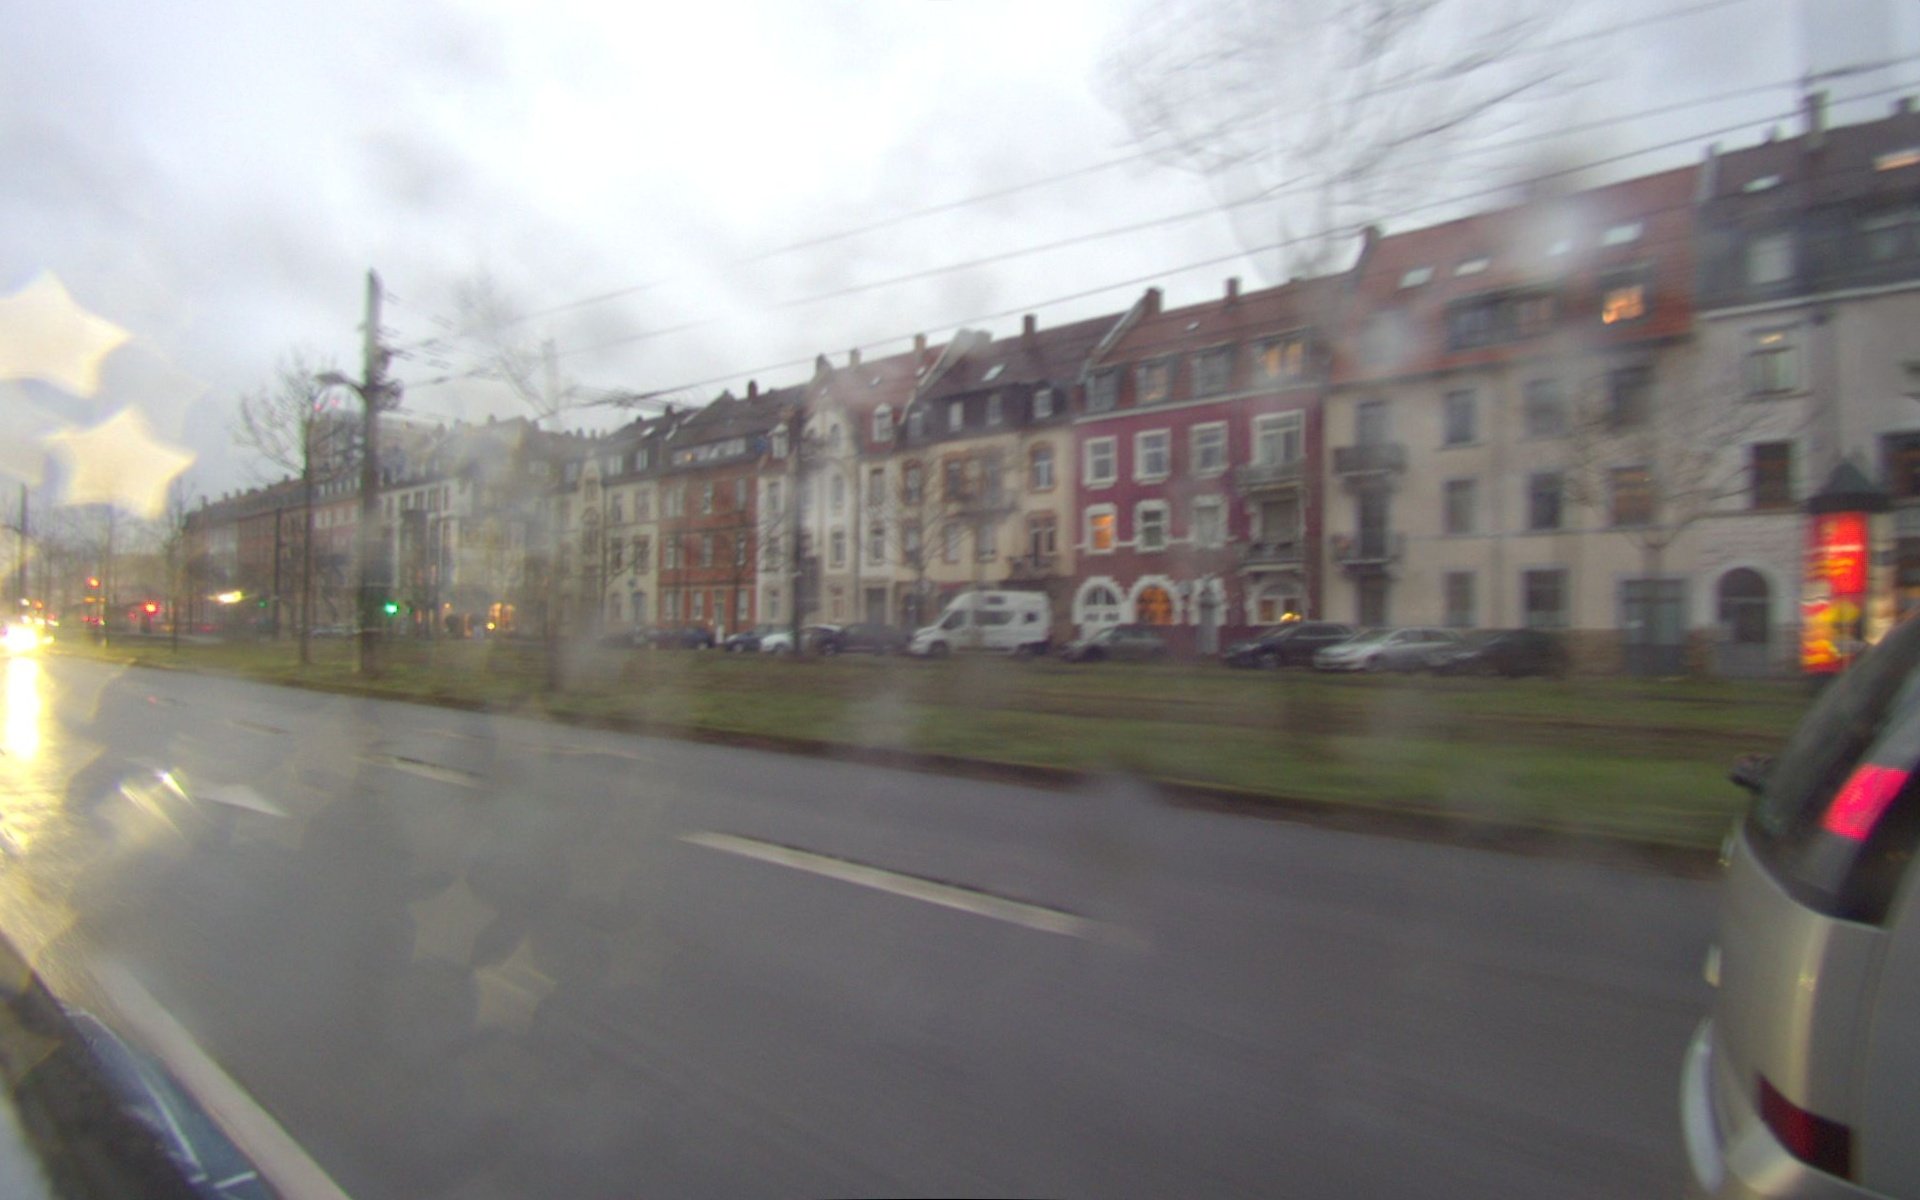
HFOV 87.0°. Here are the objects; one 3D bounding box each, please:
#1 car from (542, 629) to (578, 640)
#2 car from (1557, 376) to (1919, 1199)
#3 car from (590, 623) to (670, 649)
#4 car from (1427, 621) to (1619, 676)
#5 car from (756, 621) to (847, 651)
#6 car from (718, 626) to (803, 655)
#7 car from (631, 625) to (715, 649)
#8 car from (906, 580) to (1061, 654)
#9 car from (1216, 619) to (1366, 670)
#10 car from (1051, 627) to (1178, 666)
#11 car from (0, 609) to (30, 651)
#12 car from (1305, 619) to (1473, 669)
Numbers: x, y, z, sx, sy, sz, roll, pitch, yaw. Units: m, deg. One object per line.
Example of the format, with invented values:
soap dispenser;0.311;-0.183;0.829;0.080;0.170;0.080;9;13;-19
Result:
car;-37.795;3.249;95.551;1.330;1.083;2.860;-1;-2;40
car;2.946;0.520;0.737;4.052;1.612;1.790;-1;0;42
car;-17.818;1.935;54.776;3.933;1.342;2.005;1;-2;-13
car;14.479;1.227;26.138;3.934;1.342;2.005;1;-2;-12
car;-7.277;1.658;46.456;3.933;1.342;2.005;1;-2;-14
car;-9.655;1.939;48.864;3.933;1.342;2.005;1;-2;-13
car;-14.528;1.853;51.414;3.934;1.178;2.004;1;-2;-11
car;0.870;0.686;39.564;5.775;2.819;2.003;0;-2;-7
car;10.213;1.358;31.332;3.932;1.497;2.005;1;-2;-15
car;5.406;1.615;35.617;3.934;1.342;2.005;1;-2;-12
car;-36.535;1.117;38.128;4.052;1.508;1.790;-1;0;41
car;12.188;1.244;28.880;3.934;1.342;2.005;1;-2;-12
